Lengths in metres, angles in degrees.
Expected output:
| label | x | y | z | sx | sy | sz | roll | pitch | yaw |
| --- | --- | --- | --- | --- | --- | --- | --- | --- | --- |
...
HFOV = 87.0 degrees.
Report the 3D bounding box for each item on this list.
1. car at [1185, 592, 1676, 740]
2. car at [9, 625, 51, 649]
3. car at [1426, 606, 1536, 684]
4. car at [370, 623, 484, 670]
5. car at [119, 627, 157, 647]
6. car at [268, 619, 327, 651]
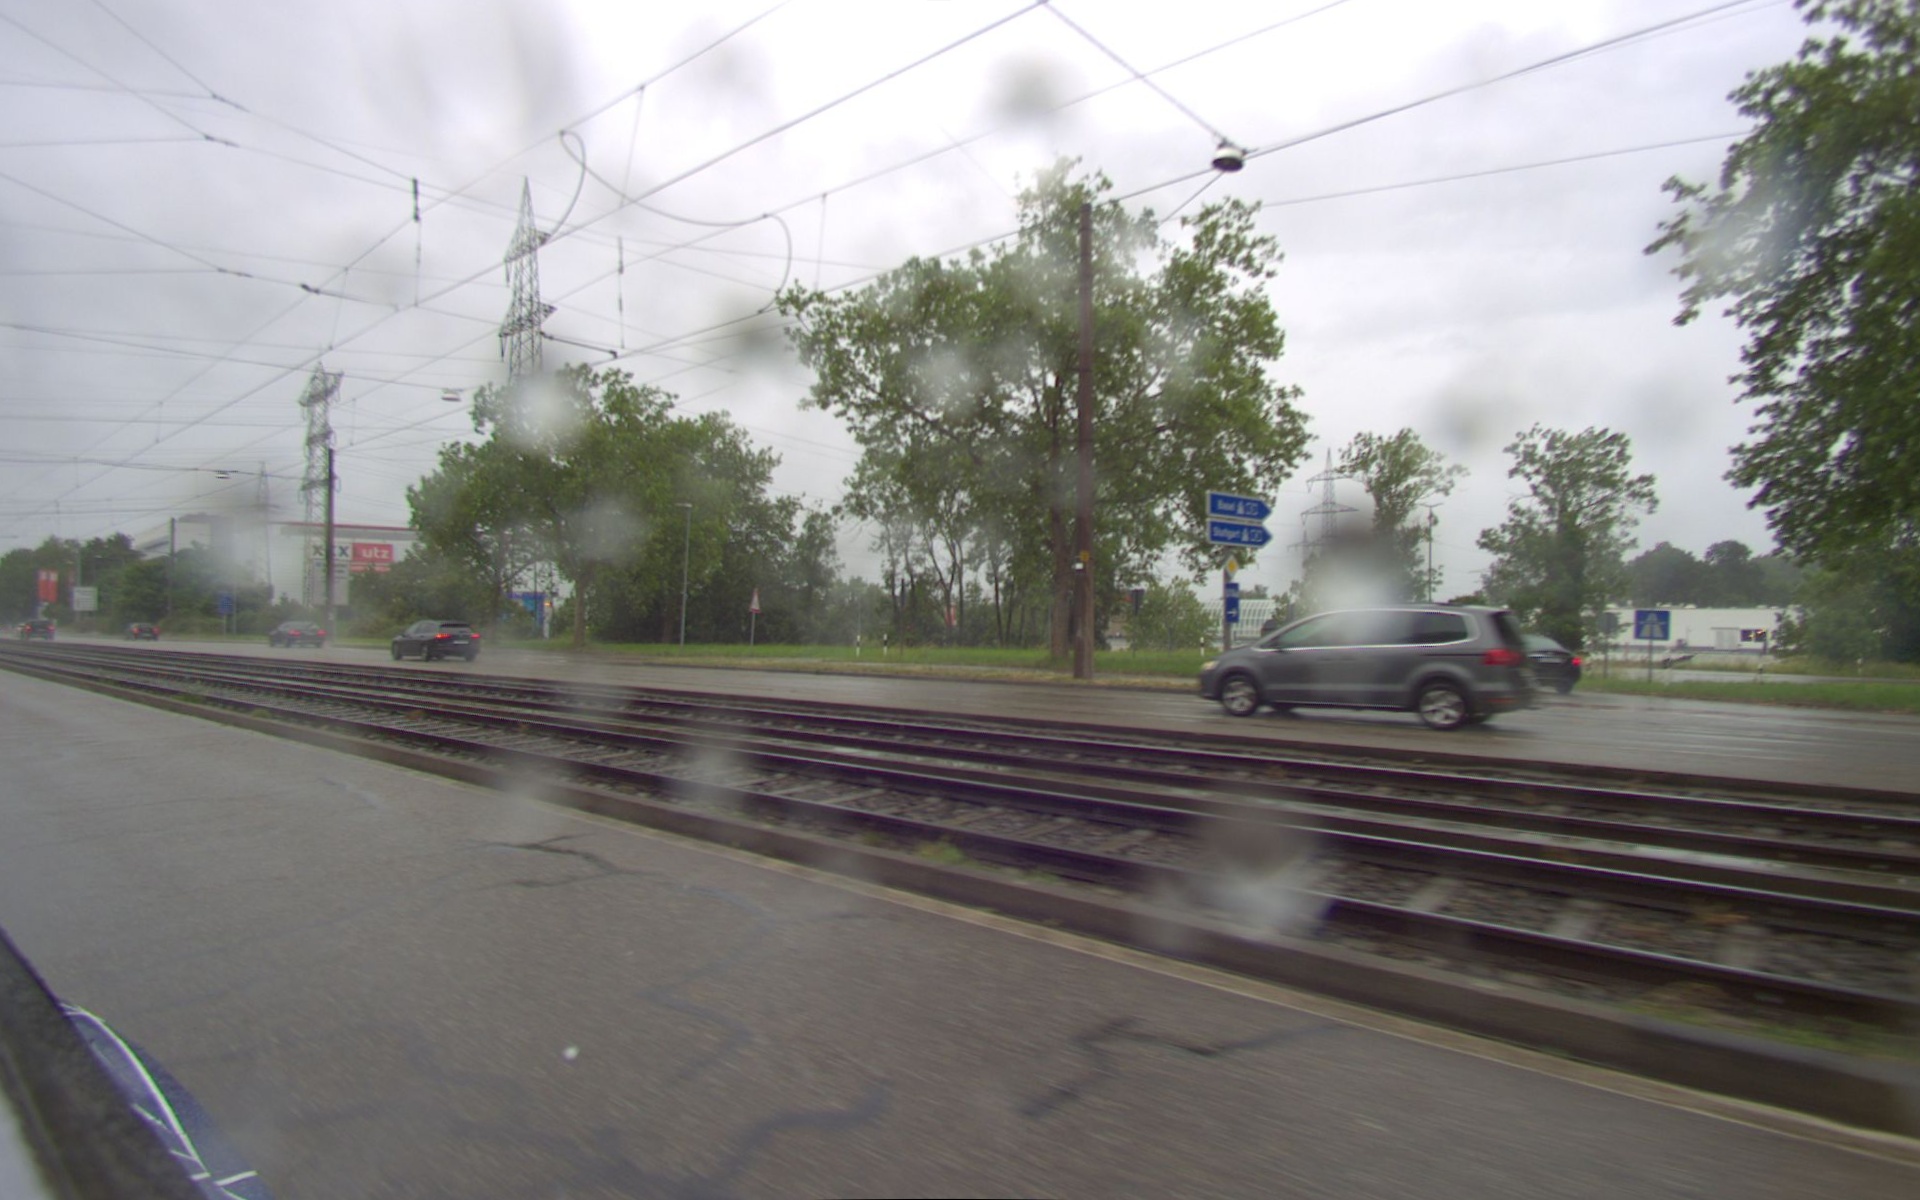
| label | x | y | z | sx | sy | sz | roll | pitch | yaw |
| --- | --- | --- | --- | --- | --- | --- | --- | --- | --- |
| car | 6.439 | 0.872 | 14.534 | 6.101 | 1.719 | 1.801 | -3 | -1 | 41 |
| car | -75.428 | 2.985 | 82.060 | 4.999 | 1.823 | 1.868 | -3 | -1 | 39 |
| car | 18.659 | 1.523 | 36.093 | 2.336 | 2.444 | 5.773 | -3 | -1 | 38 |
| car | -19.622 | 1.708 | 37.145 | 5.308 | 1.561 | 1.772 | -3 | -1 | 40 |
| car | -66.648 | 3.016 | 82.045 | 3.997 | 1.564 | 1.672 | -3 | -1 | 40 |
| car | -38.207 | 2.040 | 58.343 | 4.650 | 1.699 | 1.821 | -3 | -1 | 43 |
